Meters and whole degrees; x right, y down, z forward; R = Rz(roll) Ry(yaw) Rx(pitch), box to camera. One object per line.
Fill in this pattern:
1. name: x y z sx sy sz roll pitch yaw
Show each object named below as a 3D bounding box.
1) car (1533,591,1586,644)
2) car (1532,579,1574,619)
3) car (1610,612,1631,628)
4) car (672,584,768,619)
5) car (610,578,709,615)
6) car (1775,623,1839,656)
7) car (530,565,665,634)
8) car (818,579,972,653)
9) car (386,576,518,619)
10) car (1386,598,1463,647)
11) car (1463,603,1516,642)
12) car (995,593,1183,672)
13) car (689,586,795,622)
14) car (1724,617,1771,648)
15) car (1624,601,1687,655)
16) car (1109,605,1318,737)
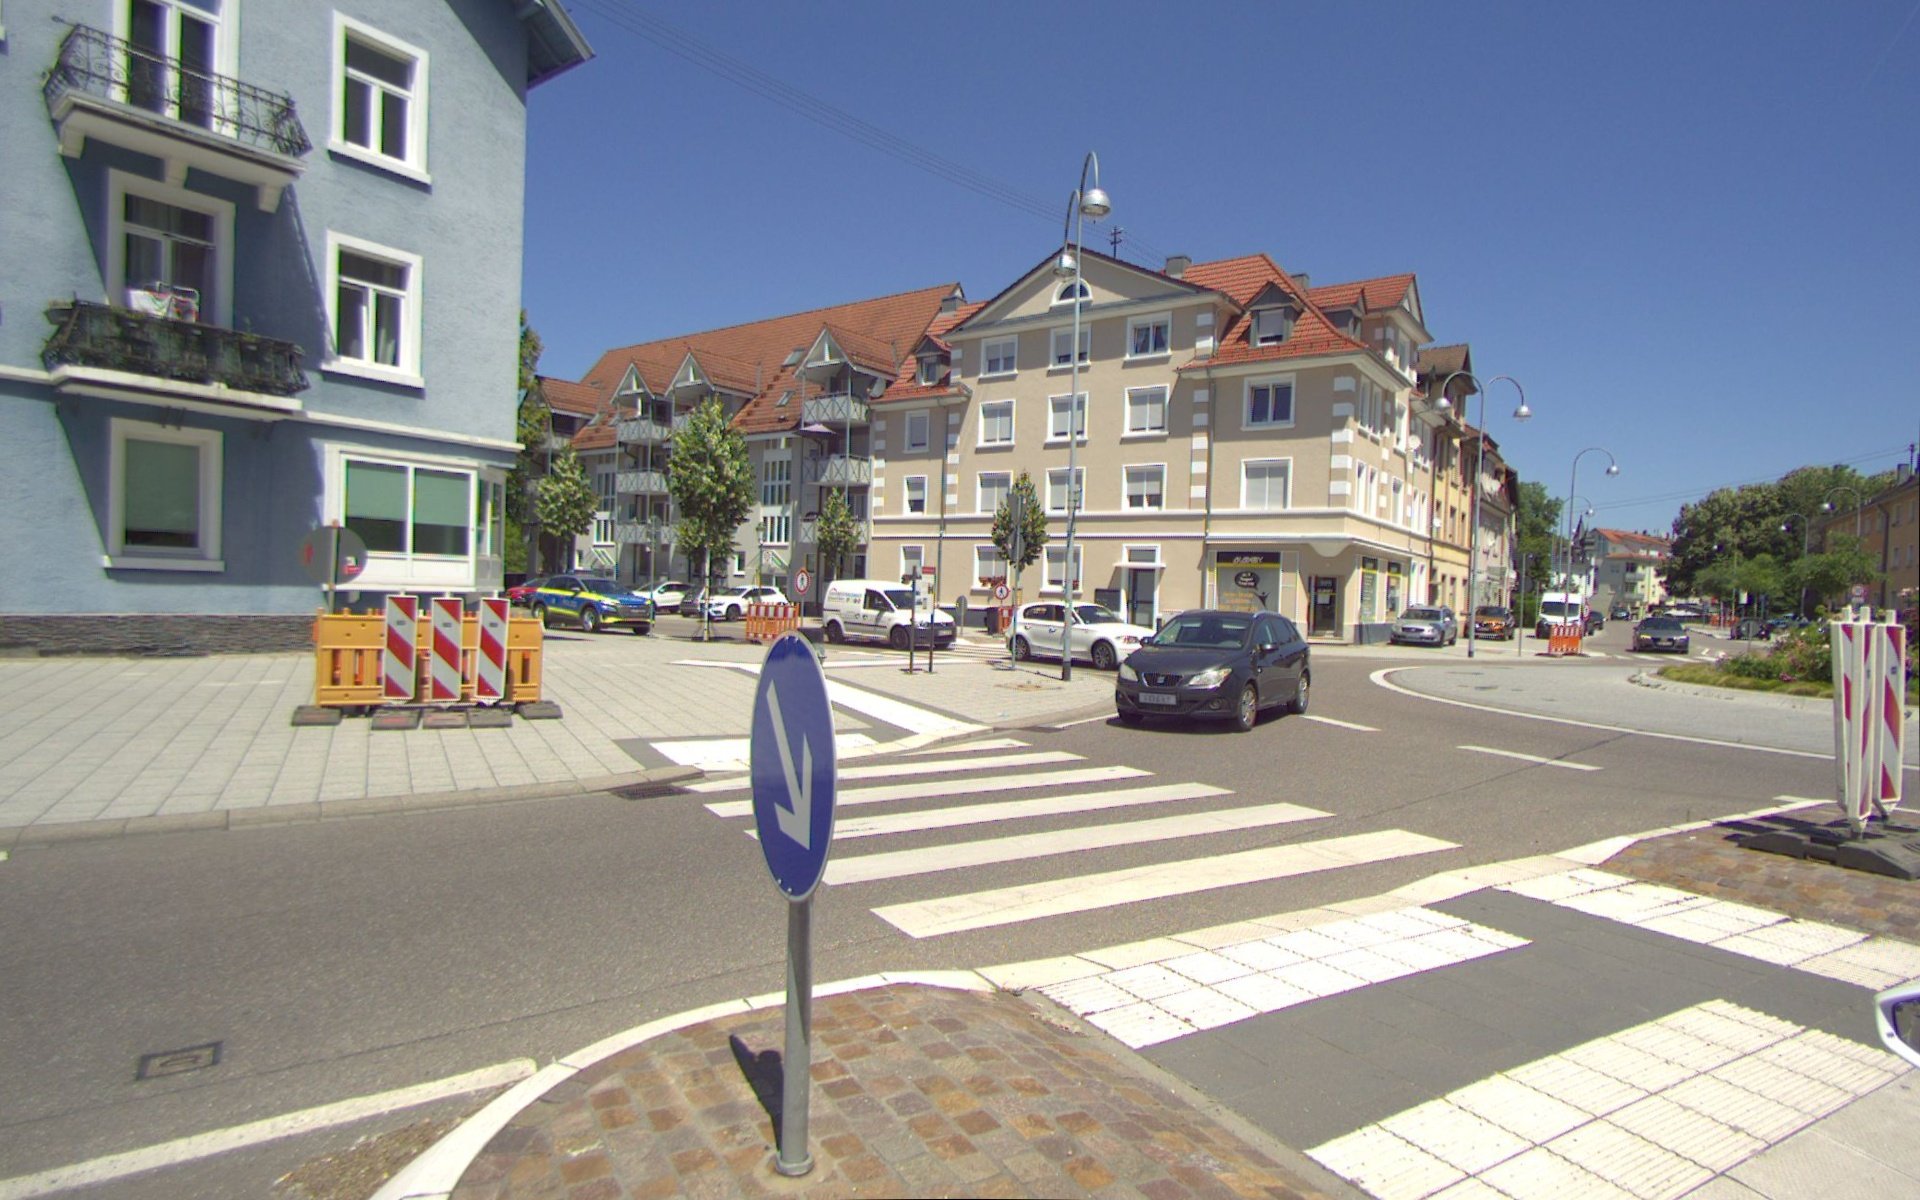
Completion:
1. car: 32.699 0.949 54.701 2.115 2.566 6.220 4 2 33
2. car: 40.974 -0.033 69.376 2.115 2.566 4.842 4 2 33
3. car: 77.490 2.338 117.866 1.786 1.818 3.992 4 1 30
4. car: -11.252 0.089 47.284 1.951 1.512 4.066 1 0 38
5. car: -14.724 -0.149 49.416 1.951 1.692 4.355 1 0 38
6. car: 44.347 2.021 52.675 1.786 1.520 3.992 4 1 30
7. car: -10.597 -0.054 29.249 4.177 1.801 1.774 3 1 39
8. car: -1.844 0.397 27.667 4.181 1.801 1.772 3 2 42
9. car: -18.733 -0.061 37.197 1.635 1.377 4.015 6 3 38
10. car: 17.694 0.839 38.146 1.752 1.708 4.678 3 1 35
11. car: 25.127 1.042 47.610 1.577 1.638 4.077 5 2 35
12. car: 2.856 0.665 22.907 1.774 1.572 4.076 0 2 -42
13. car: -9.661 0.193 44.740 1.951 1.512 4.391 1 0 38
14. car: 52.438 2.136 66.962 1.786 1.818 3.992 4 1 30
15. car: 29.256 1.133 42.277 1.967 2.040 3.987 4 2 35
16. car: 3.511 0.801 13.375 1.635 1.471 4.015 0 0 31
